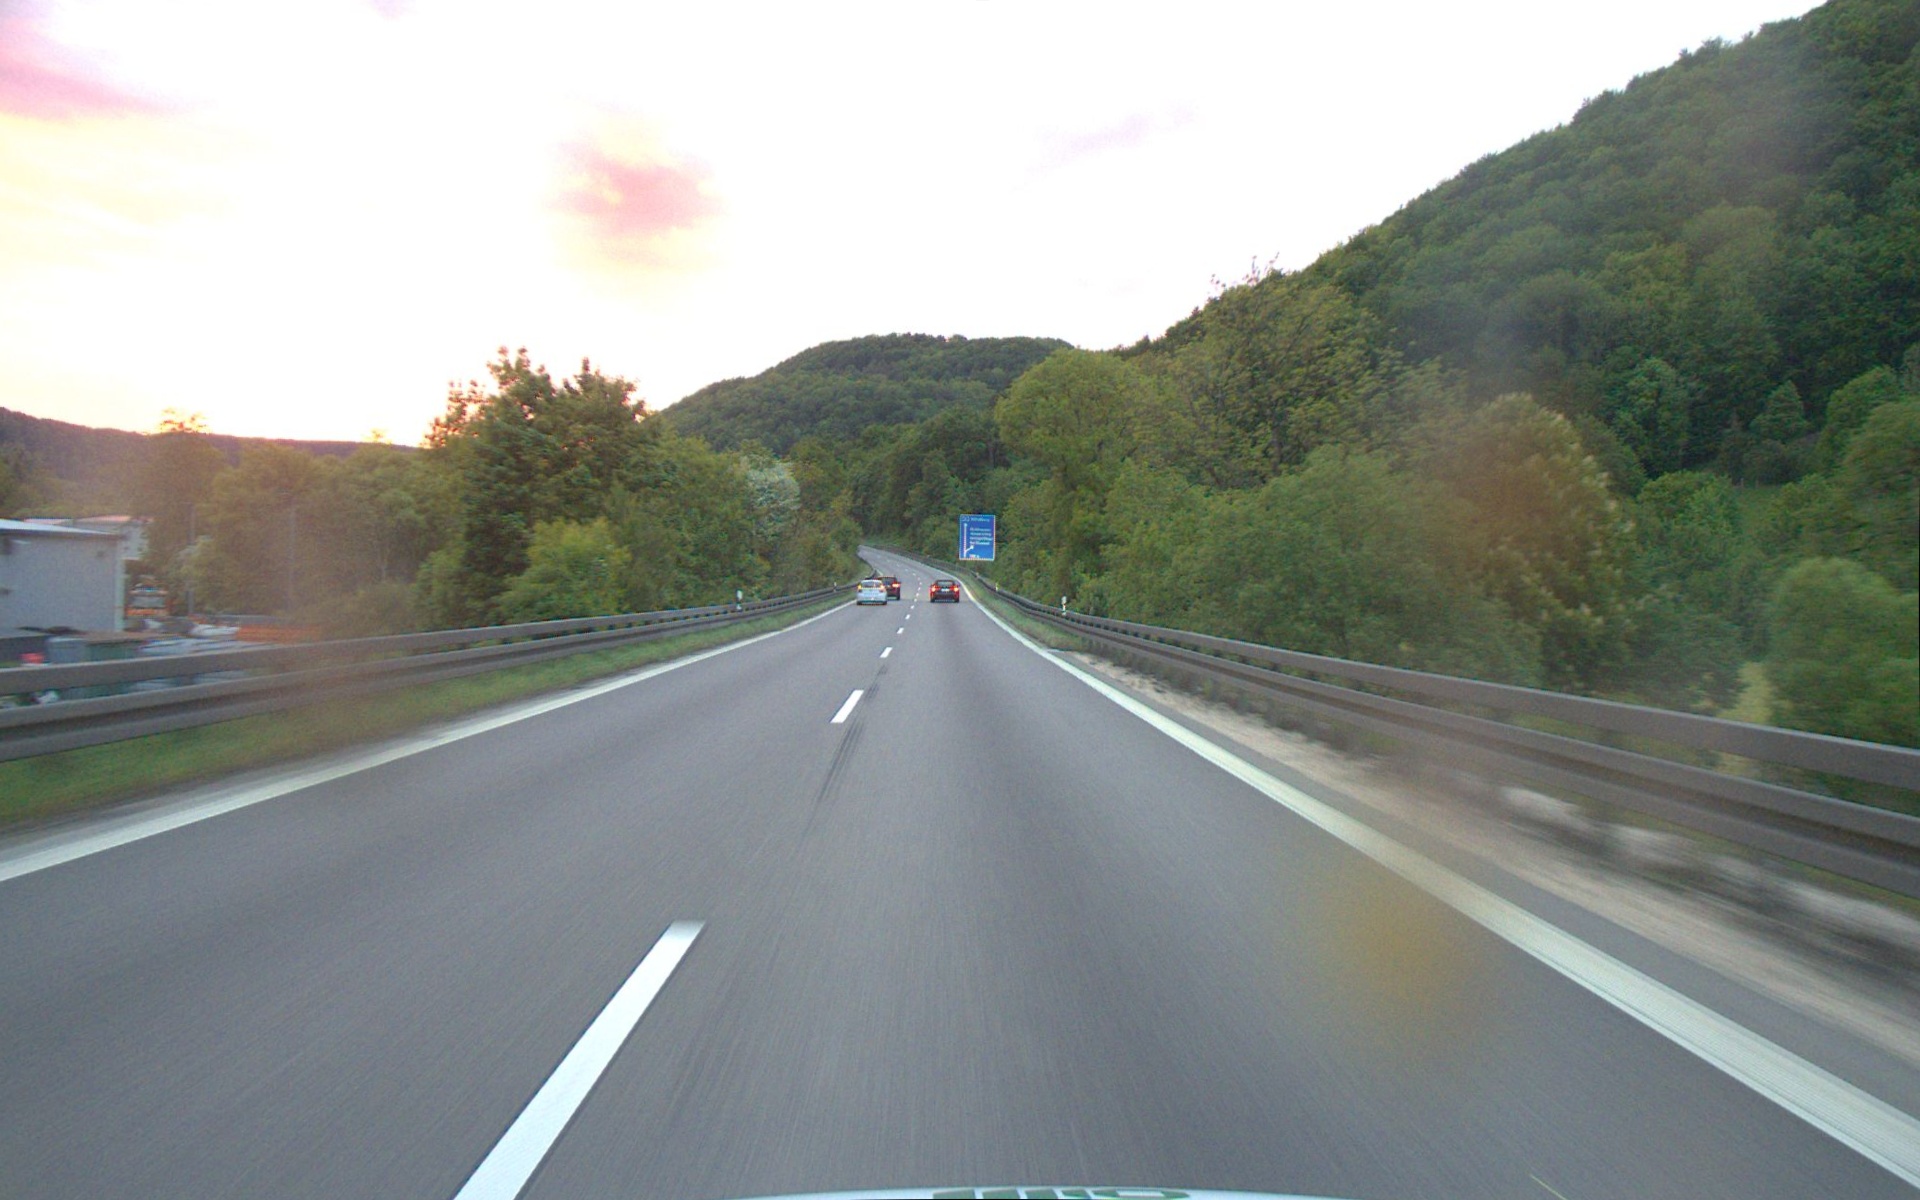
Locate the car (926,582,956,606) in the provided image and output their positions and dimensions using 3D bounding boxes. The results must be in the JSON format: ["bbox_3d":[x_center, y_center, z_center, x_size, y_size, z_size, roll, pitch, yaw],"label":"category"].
[{"bbox_3d":[-1.233,-0.414,106.031,1.840,1.492,4.000,0,1,-1],"label":"car"}]

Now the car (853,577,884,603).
[{"bbox_3d":[-5.414,-0.614,98.540,1.683,1.527,4.000,0,1,-1],"label":"car"}]

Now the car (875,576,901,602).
[{"bbox_3d":[-4.873,-0.778,112.403,1.683,1.663,4.000,0,1,-1],"label":"car"}]
